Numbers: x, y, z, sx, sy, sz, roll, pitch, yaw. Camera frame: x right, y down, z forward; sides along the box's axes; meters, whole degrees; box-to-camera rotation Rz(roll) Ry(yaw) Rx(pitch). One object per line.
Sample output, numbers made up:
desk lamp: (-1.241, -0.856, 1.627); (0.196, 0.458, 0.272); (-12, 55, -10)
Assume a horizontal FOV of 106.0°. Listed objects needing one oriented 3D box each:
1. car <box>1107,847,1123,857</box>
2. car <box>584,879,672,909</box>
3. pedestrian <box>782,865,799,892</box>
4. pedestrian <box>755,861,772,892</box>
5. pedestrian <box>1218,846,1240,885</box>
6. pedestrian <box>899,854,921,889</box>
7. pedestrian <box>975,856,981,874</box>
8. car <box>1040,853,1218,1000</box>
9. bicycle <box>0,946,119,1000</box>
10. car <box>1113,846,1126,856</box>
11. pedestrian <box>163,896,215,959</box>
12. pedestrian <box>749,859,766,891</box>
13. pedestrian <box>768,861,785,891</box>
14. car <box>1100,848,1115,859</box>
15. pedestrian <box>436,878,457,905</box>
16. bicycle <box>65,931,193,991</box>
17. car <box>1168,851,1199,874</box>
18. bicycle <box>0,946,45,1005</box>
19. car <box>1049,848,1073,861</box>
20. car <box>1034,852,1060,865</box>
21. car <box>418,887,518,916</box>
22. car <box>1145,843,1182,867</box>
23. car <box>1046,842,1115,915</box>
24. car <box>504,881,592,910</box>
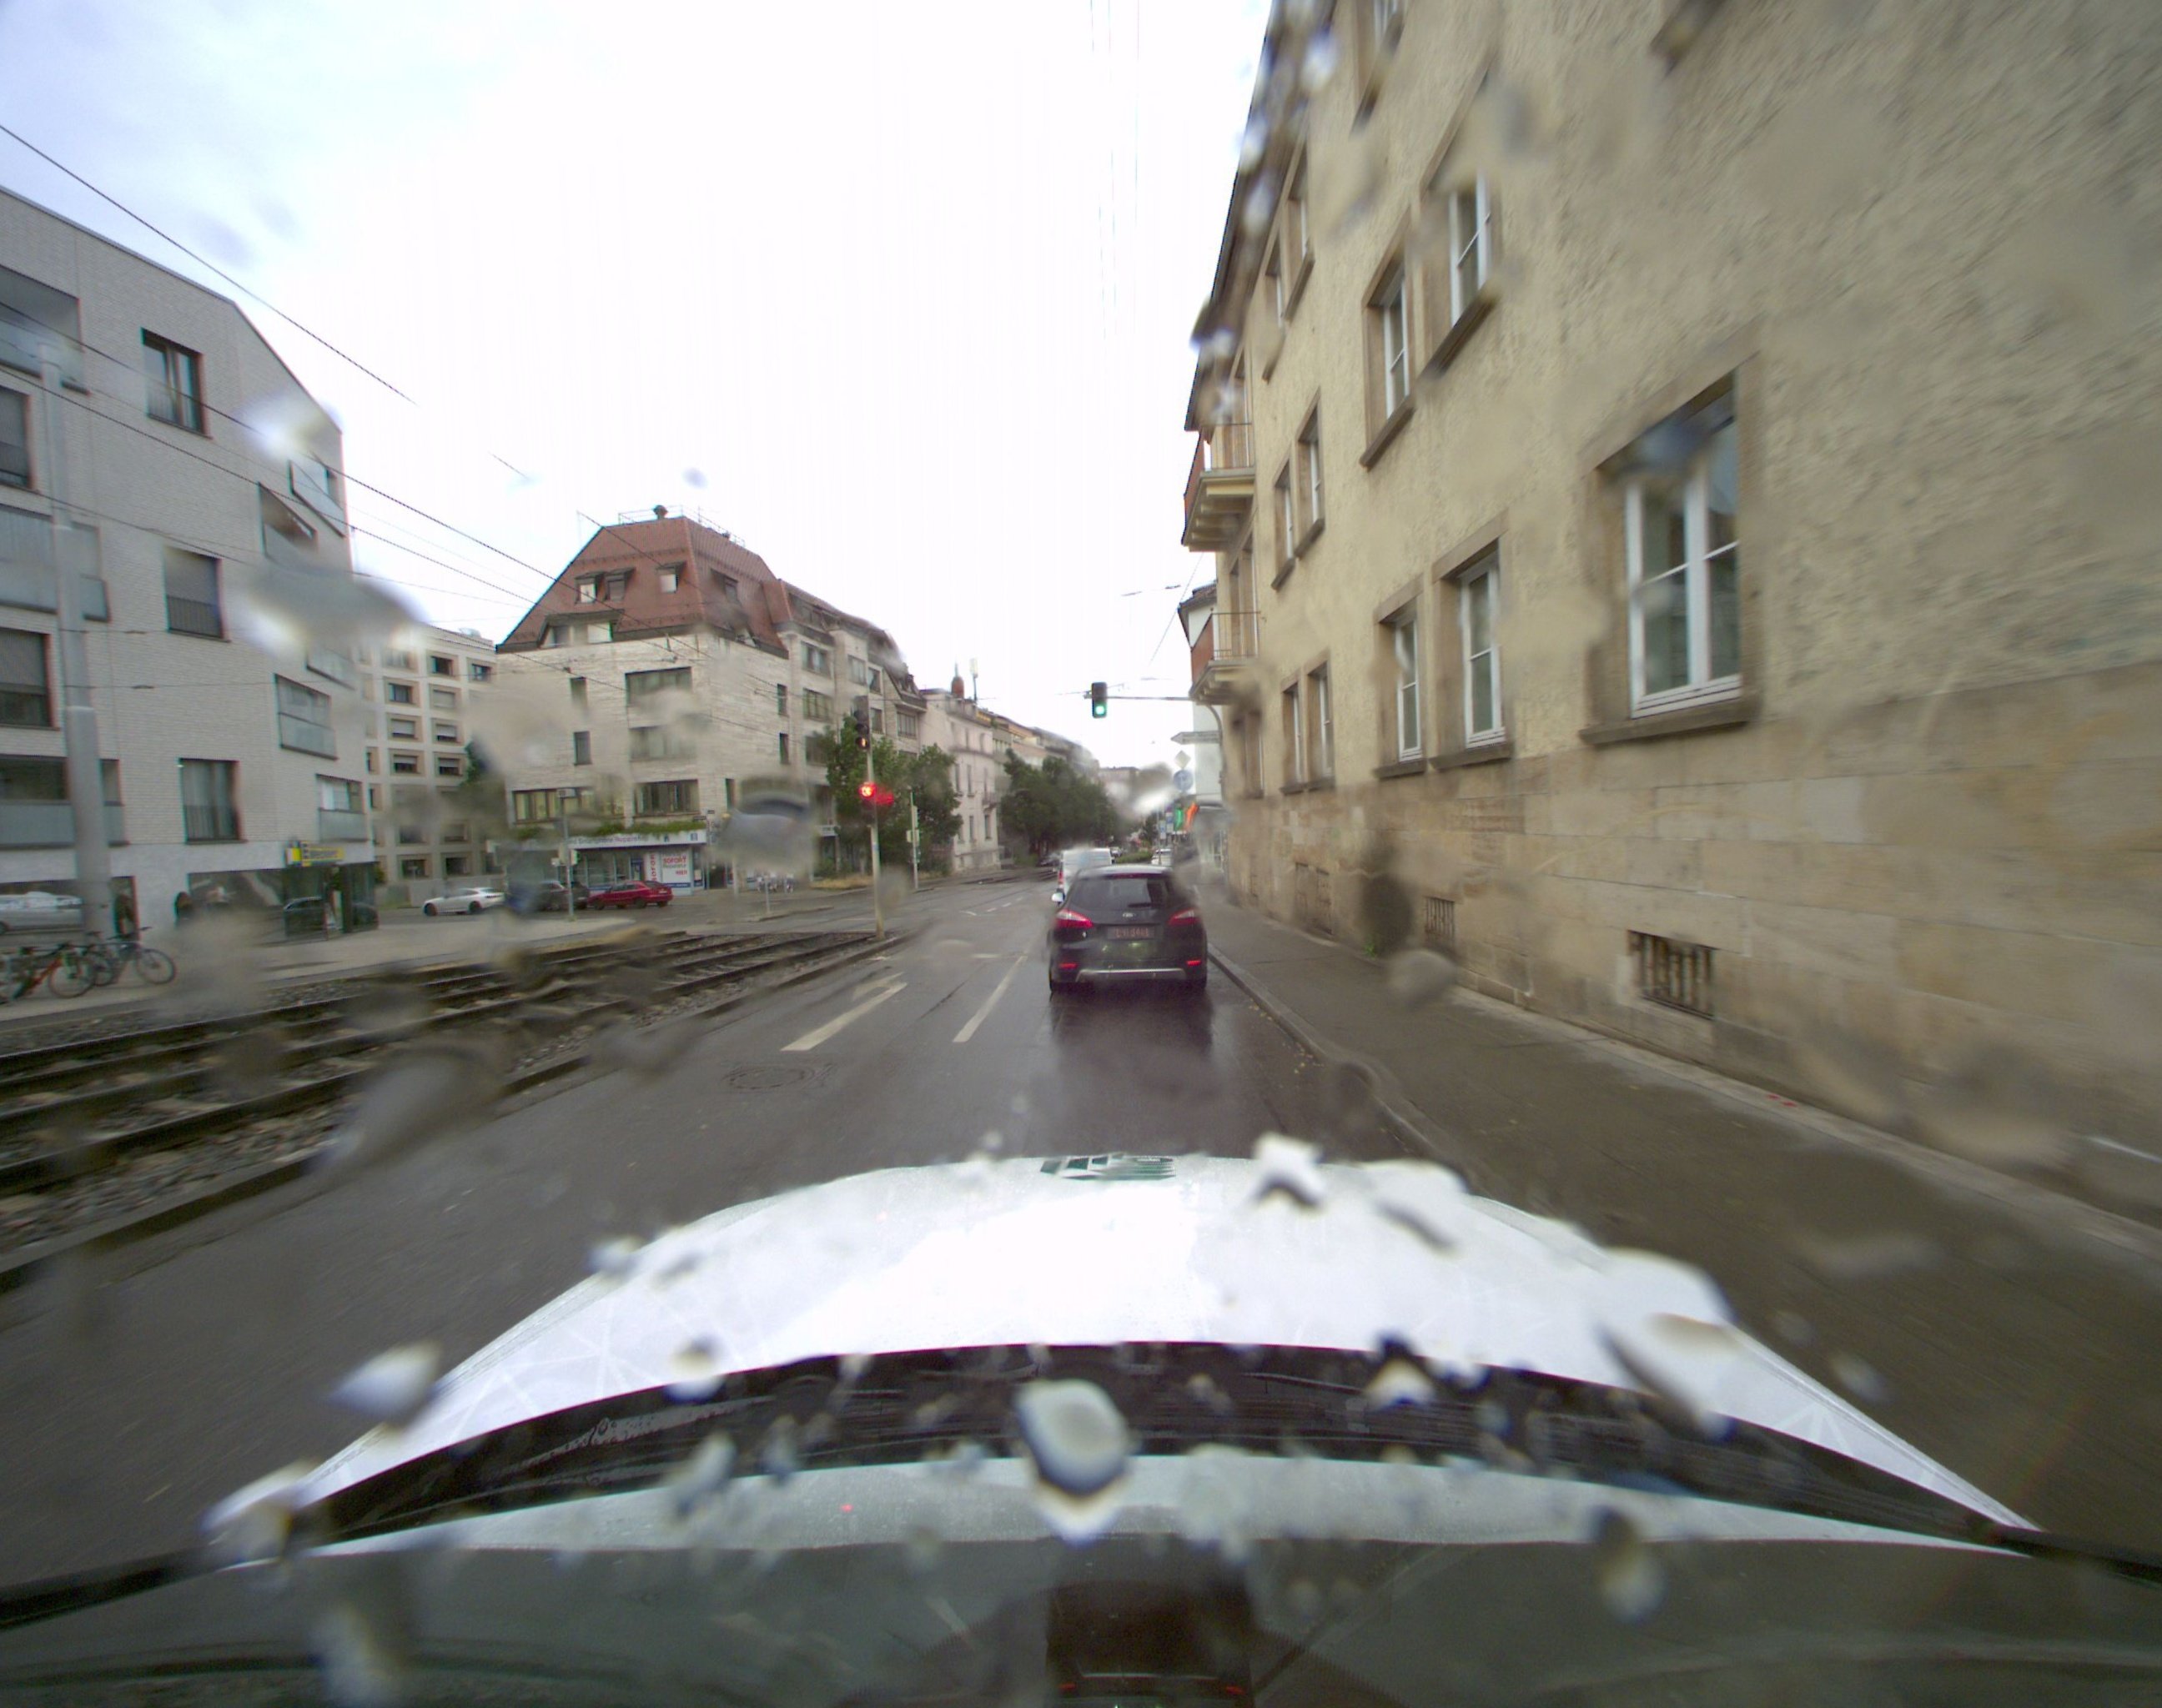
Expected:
car: (5.751, -0.332, 137.058); (1.843, 1.637, 4.952); (-2, -1, 12)
car: (-22.952, 2.028, 41.314); (3.670, 1.318, 1.598); (-2, -1, 11)
pedestrian: (-16.751, 1.401, 46.959); (0.643, 1.549, 0.686); (0, -1, 10)
pedestrian: (-18.280, 1.292, 46.943); (0.643, 1.749, 0.686); (0, -1, 10)
pedestrian: (6.061, 0.465, 33.472); (0.686, 1.572, 0.763); (-3, -1, 0)
pedestrian: (-9.145, 0.927, 43.628); (0.926, 1.830, 0.960); (0, -1, 4)
pedestrian: (-9.439, 1.048, 74.810); (0.466, 1.652, 0.582); (0, -1, 0)
car: (0.562, 0.777, 10.496); (1.836, 1.507, 4.001); (-1, -1, 2)
bicycle: (-17.856, 2.062, 14.147); (1.778, 0.876, 0.387); (0, -1, -1)
car: (6.779, -0.509, 143.791); (1.683, 1.573, 4.059); (-2, -1, 12)
pedestrian: (-23.430, 1.917, 21.411); (0.650, 1.569, 0.770); (-2, 0, -26)
pedestrian: (-19.051, 1.233, 47.953); (0.643, 1.842, 0.686); (0, -1, 10)
pedestrian: (-17.552, 1.273, 46.884); (0.643, 1.724, 0.686); (0, -1, 10)
car: (4.203, -0.100, 127.808); (1.656, 1.558, 4.059); (-2, -1, 12)
pedestrian: (-37.181, 2.197, 47.704); (0.677, 1.549, 0.651); (0, -1, 10)
bicycle: (-17.984, 2.018, 15.402); (1.779, 0.980, 0.440); (-3, -1, -3)
car: (7.668, 0.616, 60.729); (1.833, 1.632, 4.602); (-3, -1, 12)
bicycle: (-18.485, 2.044, 13.454); (1.787, 0.918, 0.385); (-1, -1, -16)
car: (-2.400, 0.084, 98.261); (1.843, 1.548, 4.736); (-2, -1, 12)
car: (-3.780, 0.573, 91.831); (1.682, 1.377, 4.736); (-2, -1, 12)
car: (-32.440, 2.487, 43.100); (4.458, 1.318, 1.598); (-2, -1, 11)
car: (5.527, 0.078, 53.993); (1.789, 1.455, 4.602); (-4, -1, 12)
car: (0.030, 0.732, 25.839); (1.981, 2.060, 4.645); (-1, -1, 1)
car: (-27.638, 2.128, 42.248); (3.670, 1.318, 1.598); (-2, -1, 11)
